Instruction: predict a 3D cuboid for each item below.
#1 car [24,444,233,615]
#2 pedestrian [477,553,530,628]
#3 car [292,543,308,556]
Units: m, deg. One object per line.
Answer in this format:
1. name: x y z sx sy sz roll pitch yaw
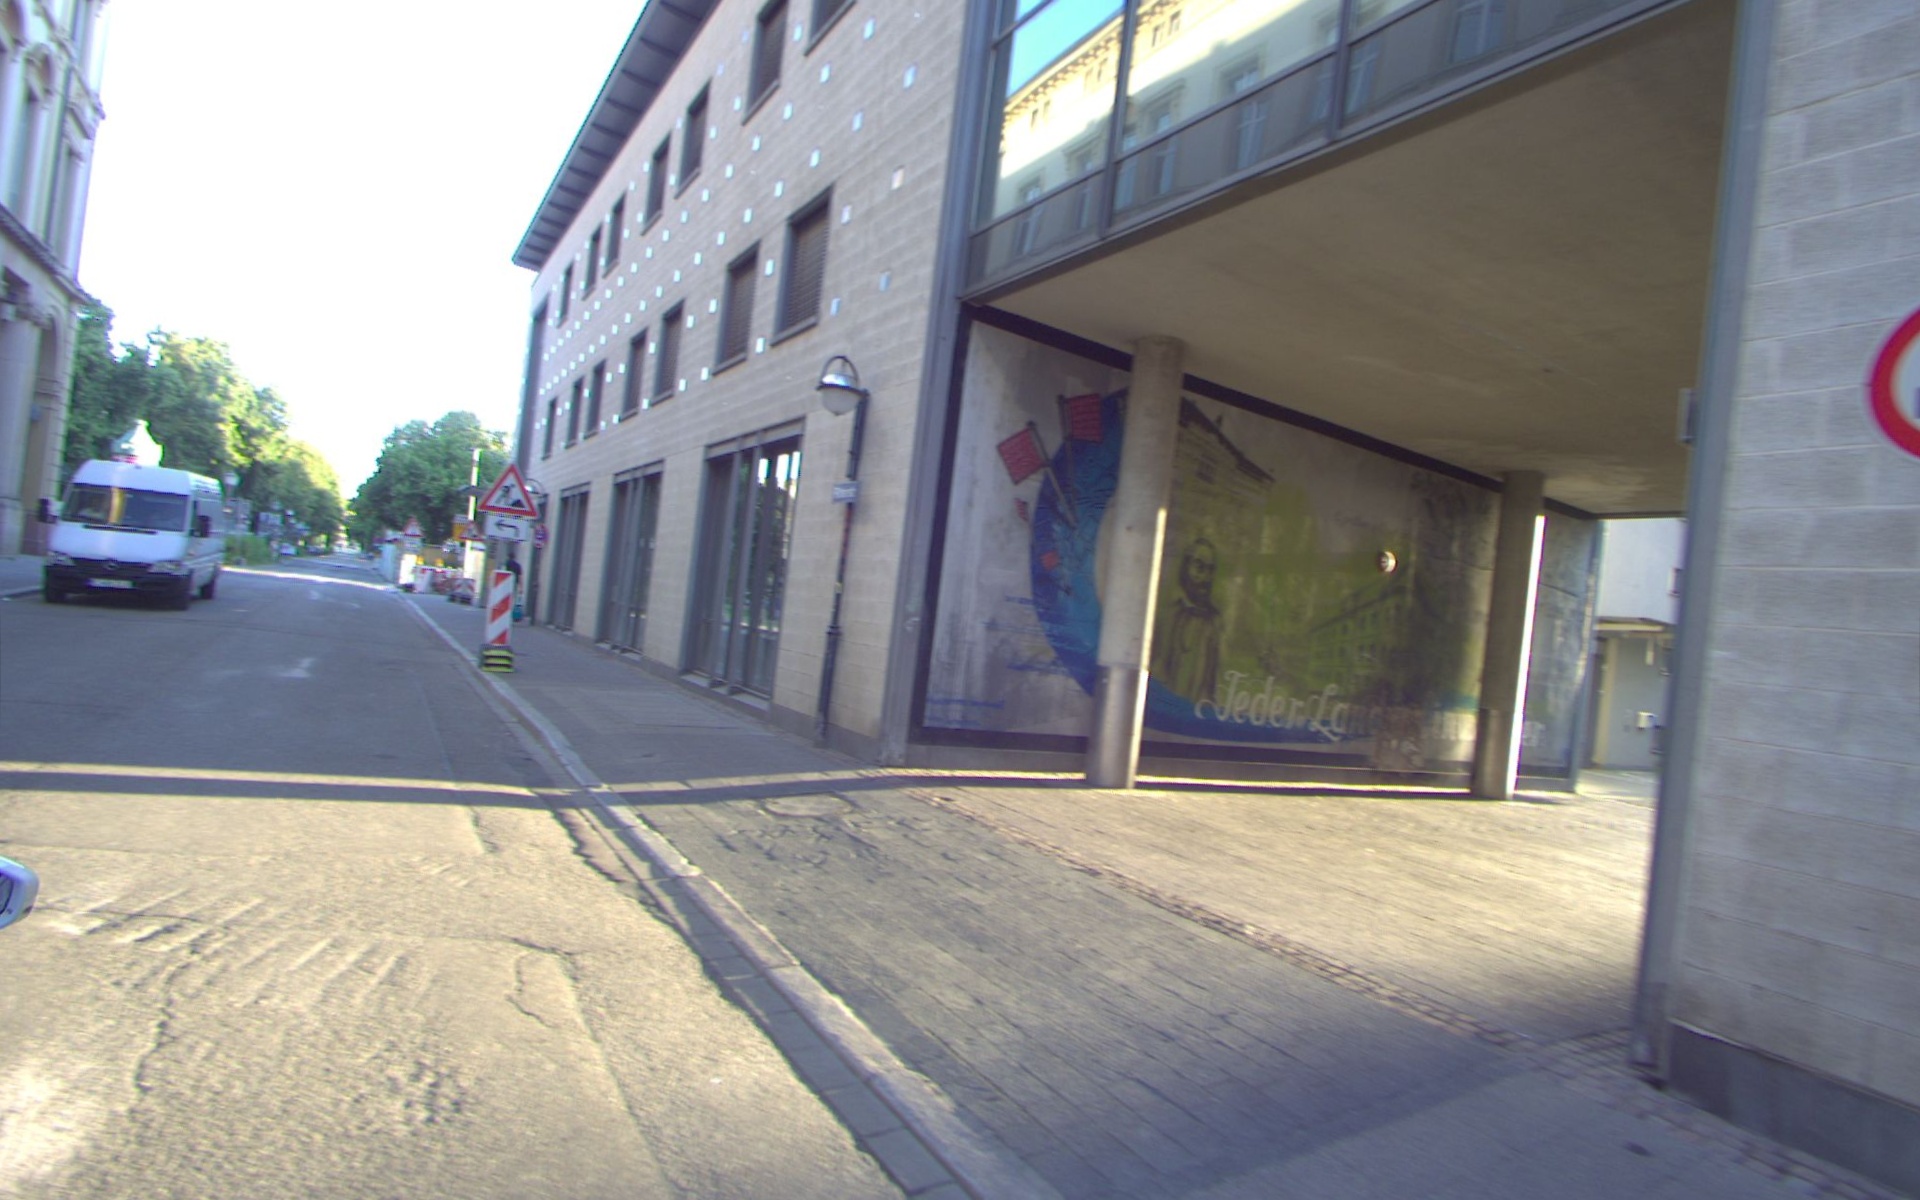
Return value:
1. car: -15.249 -1.232 18.848 1.979 2.545 6.417 4 1 -31
2. pedestrian: -11.211 -0.237 24.709 0.916 1.723 0.861 6 0 -32
3. car: -87.187 -6.669 132.931 1.458 1.420 3.648 8 -2 -32
